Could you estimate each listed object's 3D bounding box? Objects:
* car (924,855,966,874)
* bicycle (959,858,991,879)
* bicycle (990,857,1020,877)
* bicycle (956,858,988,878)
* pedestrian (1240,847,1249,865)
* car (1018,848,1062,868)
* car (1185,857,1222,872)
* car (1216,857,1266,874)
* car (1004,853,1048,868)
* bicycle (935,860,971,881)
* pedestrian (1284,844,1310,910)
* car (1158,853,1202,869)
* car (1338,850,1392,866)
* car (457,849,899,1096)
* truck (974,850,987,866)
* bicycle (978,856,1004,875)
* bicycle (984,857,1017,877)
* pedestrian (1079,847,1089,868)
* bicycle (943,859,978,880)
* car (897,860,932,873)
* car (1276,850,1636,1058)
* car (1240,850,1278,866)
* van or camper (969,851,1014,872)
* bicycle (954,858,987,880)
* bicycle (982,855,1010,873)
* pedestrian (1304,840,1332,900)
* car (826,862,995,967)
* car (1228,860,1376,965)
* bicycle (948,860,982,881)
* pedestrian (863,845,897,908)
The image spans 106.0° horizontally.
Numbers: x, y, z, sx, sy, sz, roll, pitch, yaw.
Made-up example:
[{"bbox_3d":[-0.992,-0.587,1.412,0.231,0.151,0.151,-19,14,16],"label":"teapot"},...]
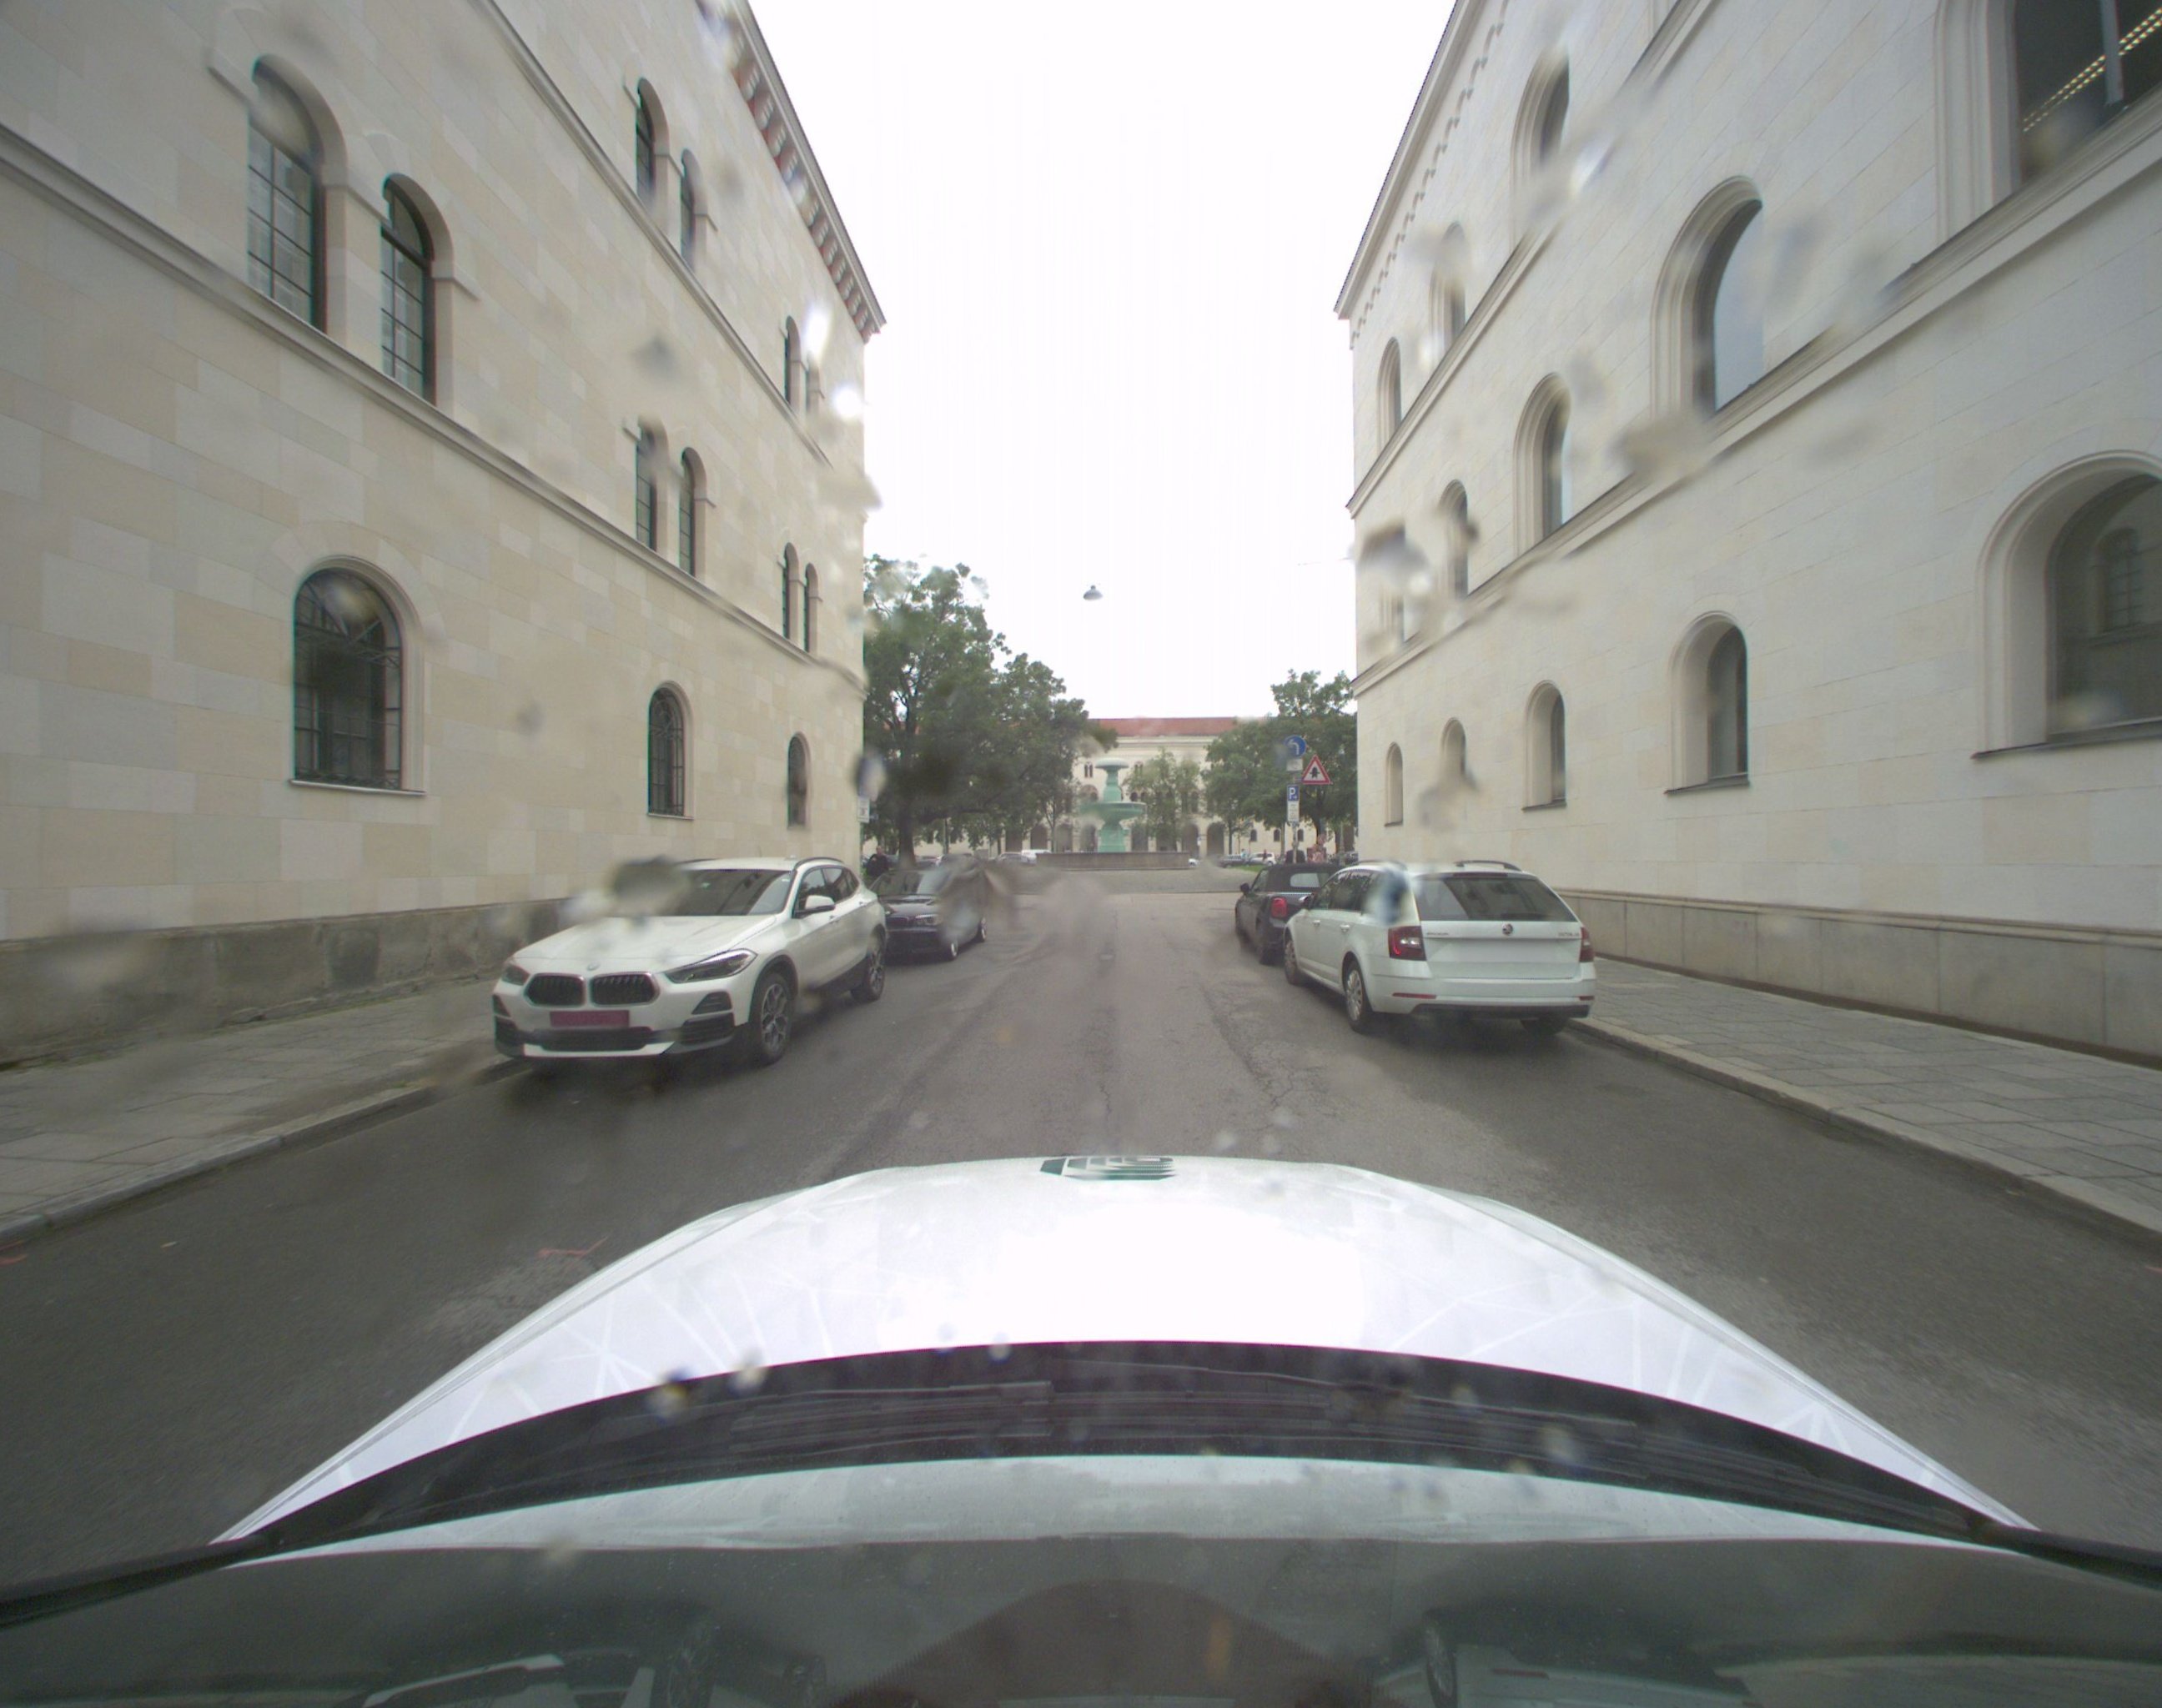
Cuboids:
[{"bbox_3d":[-13.576,1.000,81.339,3.875,1.868,1.772,0,0,1],"label":"car"},{"bbox_3d":[-5.724,0.793,44.004,1.607,1.099,0.701,0,0,13],"label":"bicycle"},{"bbox_3d":[-4.324,0.751,46.372,1.607,1.099,0.618,0,0,13],"label":"bicycle"},{"bbox_3d":[-6.014,0.784,45.130,1.607,1.099,0.701,0,0,13],"label":"bicycle"},{"bbox_3d":[13.777,0.144,68.544,0.577,1.465,0.551,-1,0,25],"label":"pedestrian"},{"bbox_3d":[-4.204,0.373,83.516,4.305,2.013,1.827,0,0,5],"label":"car"},{"bbox_3d":[14.029,1.200,93.574,3.972,1.750,1.809,0,0,1],"label":"car"},{"bbox_3d":[14.820,1.079,75.392,4.338,1.524,1.805,-1,0,3],"label":"car"},{"bbox_3d":[-5.116,0.594,76.064,3.973,1.376,2.000,-1,0,0],"label":"car"},{"bbox_3d":[-6.436,0.831,40.918,1.607,1.035,0.701,0,0,13],"label":"bicycle"},{"bbox_3d":[6.034,0.633,22.807,0.638,1.808,0.490,0,0,8],"label":"pedestrian"},{"bbox_3d":[9.178,0.645,75.656,3.968,1.403,1.827,-1,0,4],"label":"car"},{"bbox_3d":[26.164,0.386,75.079,4.338,1.418,1.805,-1,0,3],"label":"car"},{"bbox_3d":[-3.077,0.783,7.366,1.772,1.535,4.212,-2,-1,1],"label":"car"},{"bbox_3d":[-16.123,0.593,131.006,1.993,2.488,3.988,0,1,-9],"label":"truck"},{"bbox_3d":[-5.255,0.652,47.524,1.391,1.099,0.659,0,0,13],"label":"bicycle"},{"bbox_3d":[-4.495,0.728,45.700,1.698,1.099,0.701,0,0,13],"label":"bicycle"},{"bbox_3d":[0.226,0.271,66.473,0.748,1.640,0.710,-1,0,2],"label":"pedestrian"},{"bbox_3d":[-6.163,0.796,41.747,1.607,1.035,0.701,0,0,13],"label":"bicycle"},{"bbox_3d":[-19.309,1.427,94.663,3.659,1.376,1.603,-1,0,0],"label":"car"},{"bbox_3d":[3.259,0.727,8.126,1.782,1.476,4.317,-1,0,3],"label":"car"},{"bbox_3d":[20.418,0.453,93.494,4.085,1.741,1.745,0,0,-2],"label":"car"},{"bbox_3d":[-9.535,0.815,87.008,4.565,2.014,1.999,-3,-1,-1],"label":"van or camper"},{"bbox_3d":[-5.863,0.785,43.265,1.607,1.099,0.701,0,0,13],"label":"bicycle"},{"bbox_3d":[-5.033,0.603,48.305,1.525,1.019,0.701,0,0,13],"label":"bicycle"},{"bbox_3d":[6.750,0.457,23.225,0.619,1.681,0.545,1,0,-4],"label":"pedestrian"},{"bbox_3d":[-2.605,0.864,13.461,1.692,1.393,4.214,-2,-1,3],"label":"car"},{"bbox_3d":[3.352,0.815,12.999,1.534,1.426,3.775,0,0,3],"label":"car"},{"bbox_3d":[-6.029,0.844,42.478,1.607,1.035,0.701,0,0,13],"label":"bicycle"},{"bbox_3d":[-5.694,0.637,23.107,0.752,1.749,0.689,-1,0,0],"label":"pedestrian"}]
